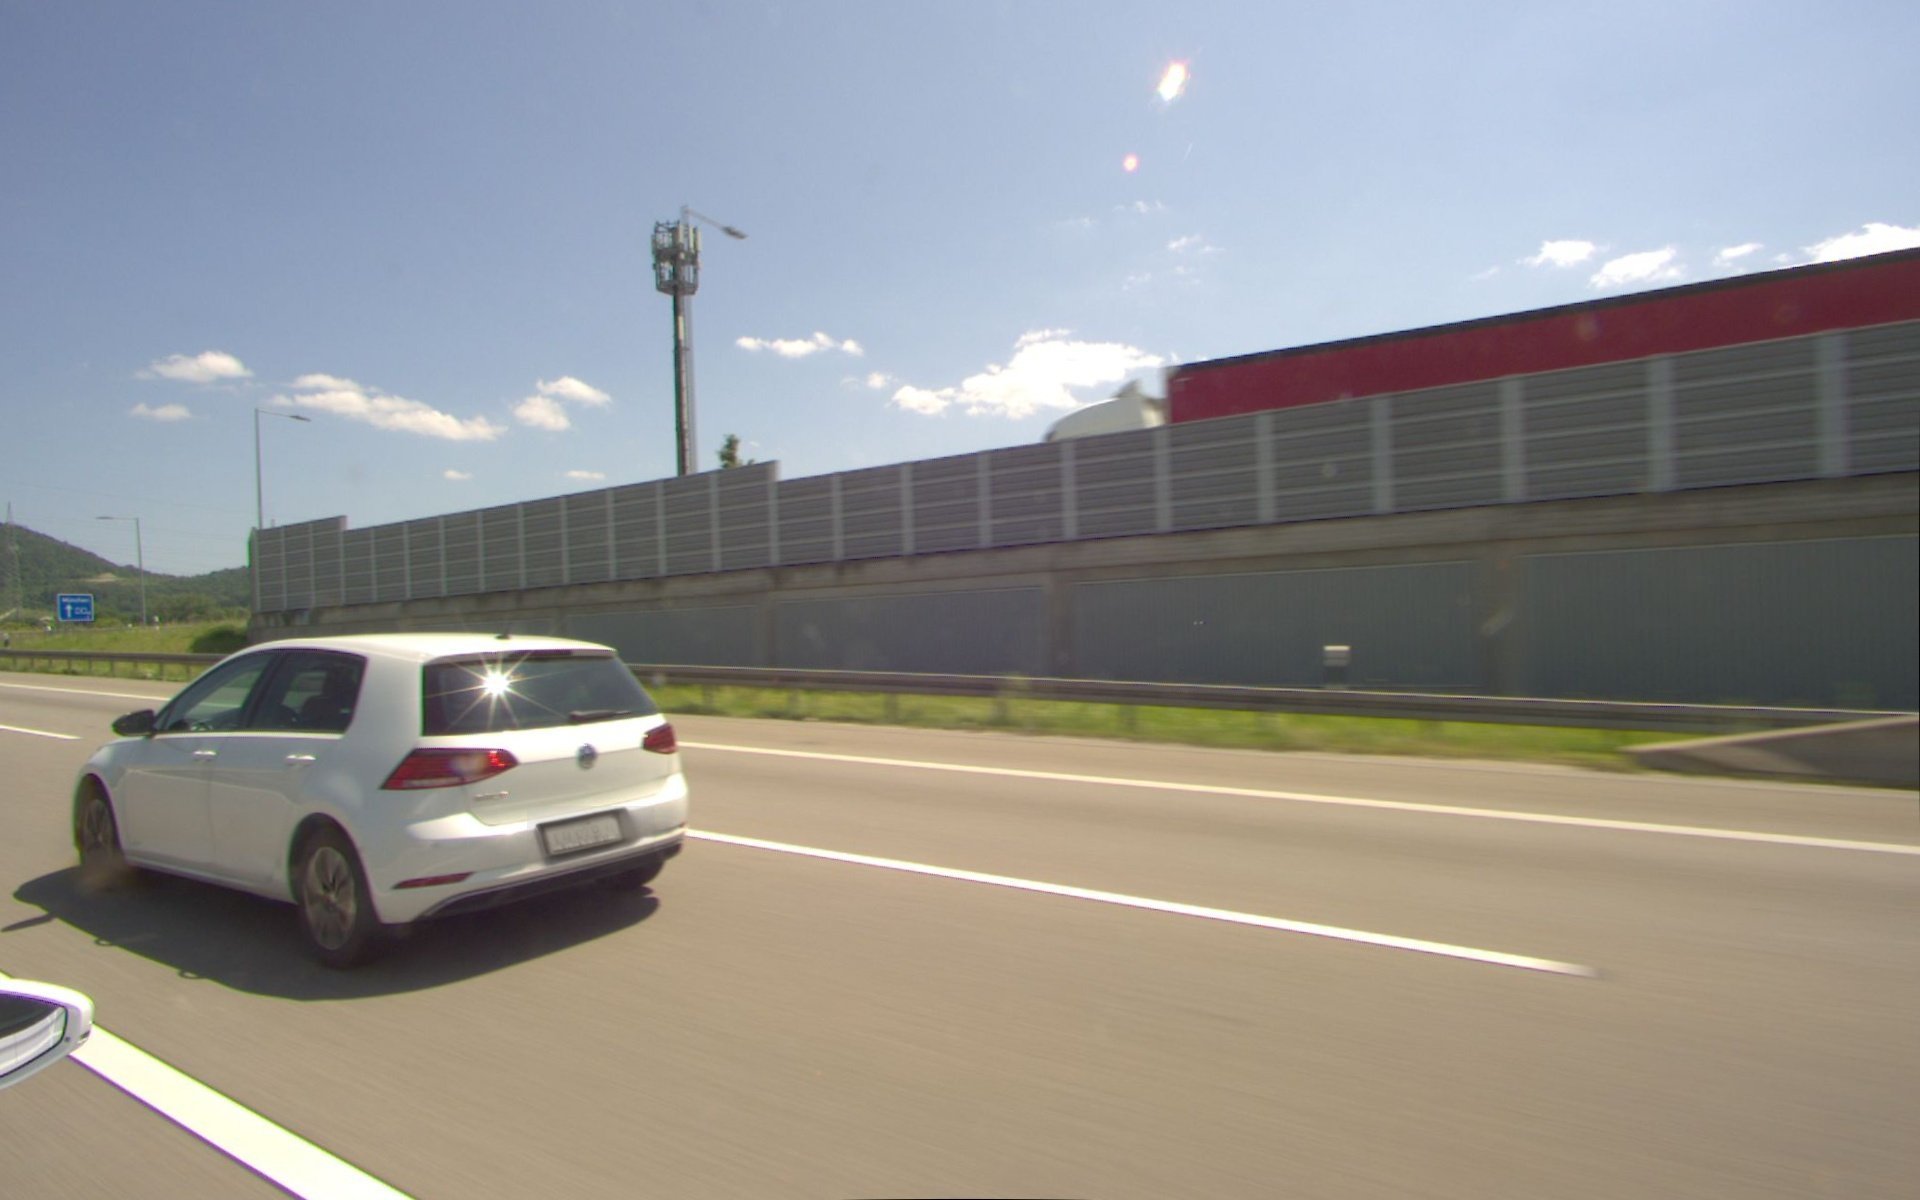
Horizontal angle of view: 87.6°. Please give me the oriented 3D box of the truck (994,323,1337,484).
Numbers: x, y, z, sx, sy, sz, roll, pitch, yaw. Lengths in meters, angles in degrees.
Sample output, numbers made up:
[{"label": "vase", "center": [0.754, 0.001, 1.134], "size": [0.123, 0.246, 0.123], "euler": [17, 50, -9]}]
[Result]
[{"label": "truck", "center": [4.548, -4.228, 22.761], "size": [7.181, 2.232, 2.704], "euler": [-1, -2, 31]}]

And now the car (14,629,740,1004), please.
[{"label": "car", "center": [-3.601, 0.921, 5.894], "size": [4.624, 1.451, 1.773], "euler": [-2, -2, 32]}]

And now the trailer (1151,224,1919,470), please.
[{"label": "trailer", "center": [10.677, -4.401, 19.013], "size": [13.816, 2.252, 2.716], "euler": [-1, -2, 31]}]
